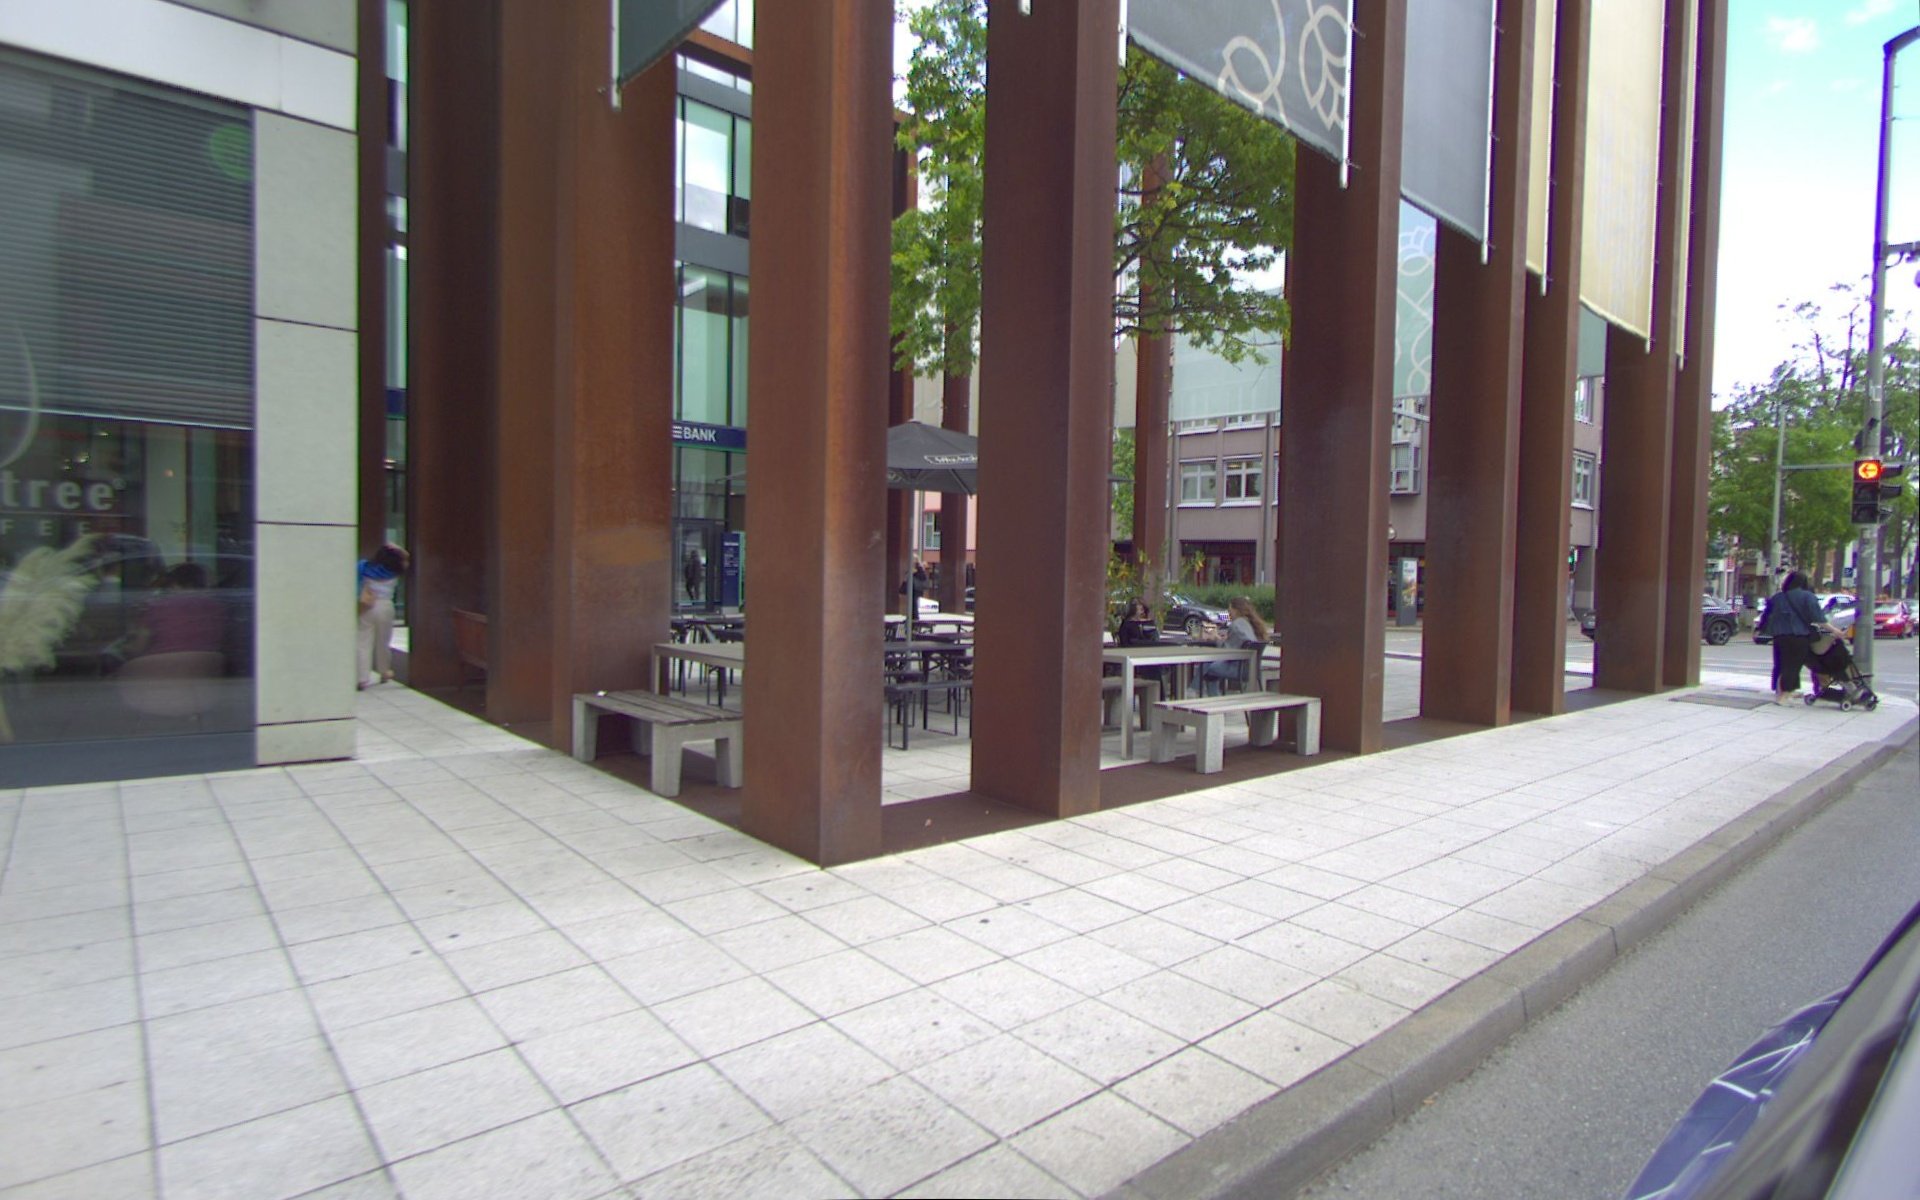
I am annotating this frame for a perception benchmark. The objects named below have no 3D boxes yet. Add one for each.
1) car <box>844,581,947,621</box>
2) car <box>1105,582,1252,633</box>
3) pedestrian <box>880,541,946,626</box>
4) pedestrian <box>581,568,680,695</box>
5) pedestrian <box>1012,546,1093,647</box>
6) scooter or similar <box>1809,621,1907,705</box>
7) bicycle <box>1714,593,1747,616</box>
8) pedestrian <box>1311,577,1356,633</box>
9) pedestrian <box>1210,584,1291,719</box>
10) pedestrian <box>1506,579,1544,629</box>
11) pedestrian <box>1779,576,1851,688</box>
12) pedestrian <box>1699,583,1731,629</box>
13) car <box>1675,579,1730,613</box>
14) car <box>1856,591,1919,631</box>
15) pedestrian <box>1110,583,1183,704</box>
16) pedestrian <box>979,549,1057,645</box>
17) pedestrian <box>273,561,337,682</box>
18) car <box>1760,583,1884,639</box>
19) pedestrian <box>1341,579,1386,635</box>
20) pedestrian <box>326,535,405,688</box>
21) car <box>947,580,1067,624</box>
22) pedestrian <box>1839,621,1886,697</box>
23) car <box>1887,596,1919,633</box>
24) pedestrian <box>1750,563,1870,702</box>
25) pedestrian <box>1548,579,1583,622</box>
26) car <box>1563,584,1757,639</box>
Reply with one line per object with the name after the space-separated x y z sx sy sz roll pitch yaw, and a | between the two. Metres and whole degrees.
-2.728 0.016 41.885 1.770 1.506 4.563 0 1 -43 | car
6.673 0.192 31.246 1.770 1.421 4.178 0 1 -43 | car
-1.023 -0.369 22.008 1.101 1.789 0.879 0 2 -43 | pedestrian
-3.340 0.309 10.262 0.782 1.223 0.516 1 1 -43 | pedestrian
1.631 -0.078 17.851 1.101 1.702 0.879 0 2 -43 | pedestrian
11.125 0.766 12.552 0.608 0.973 0.636 1 1 -7 | scooter or similar
38.477 0.218 50.558 0.399 1.061 1.569 1 2 1 | bicycle
10.956 0.142 29.693 1.040 1.604 0.831 0 2 -42 | pedestrian
2.767 0.468 9.647 0.595 1.235 0.449 0 2 -38 | pedestrian
19.221 0.120 34.441 1.075 1.646 0.809 0 2 -43 | pedestrian
11.343 0.407 13.430 0.571 1.437 0.603 1 1 -38 | pedestrian
27.994 0.204 37.528 0.938 1.646 0.742 0 2 -44 | pedestrian
41.956 -0.243 57.145 4.189 1.826 1.737 0 3 -43 | car
36.526 0.400 39.555 3.575 1.466 1.630 0 0 -38 | car
1.974 0.441 10.716 0.595 1.235 0.449 0 1 -37 | pedestrian
1.072 -0.071 18.625 1.101 1.702 0.879 0 2 -43 | pedestrian
-6.739 0.208 10.417 0.514 1.200 0.506 0 2 -38 | pedestrian
27.971 0.320 32.820 4.293 1.722 1.747 0 0 -30 | car
11.586 0.182 29.086 0.952 1.578 0.831 0 2 -41 | pedestrian
-6.063 0.099 10.316 0.596 1.487 0.647 0 2 -40 | pedestrian
1.627 0.033 36.380 1.768 1.421 4.546 0 1 -39 | car
11.650 0.755 13.066 0.446 0.935 0.363 1 1 -38 | pedestrian
41.875 0.604 44.143 3.932 1.549 1.799 0 0 -43 | car
10.577 0.381 12.623 0.666 1.667 0.874 1 1 -6 | pedestrian
23.210 -0.003 38.809 1.021 1.615 0.823 0 1 -39 | pedestrian
21.967 0.344 31.895 4.771 1.629 1.856 0 0 2 | car
